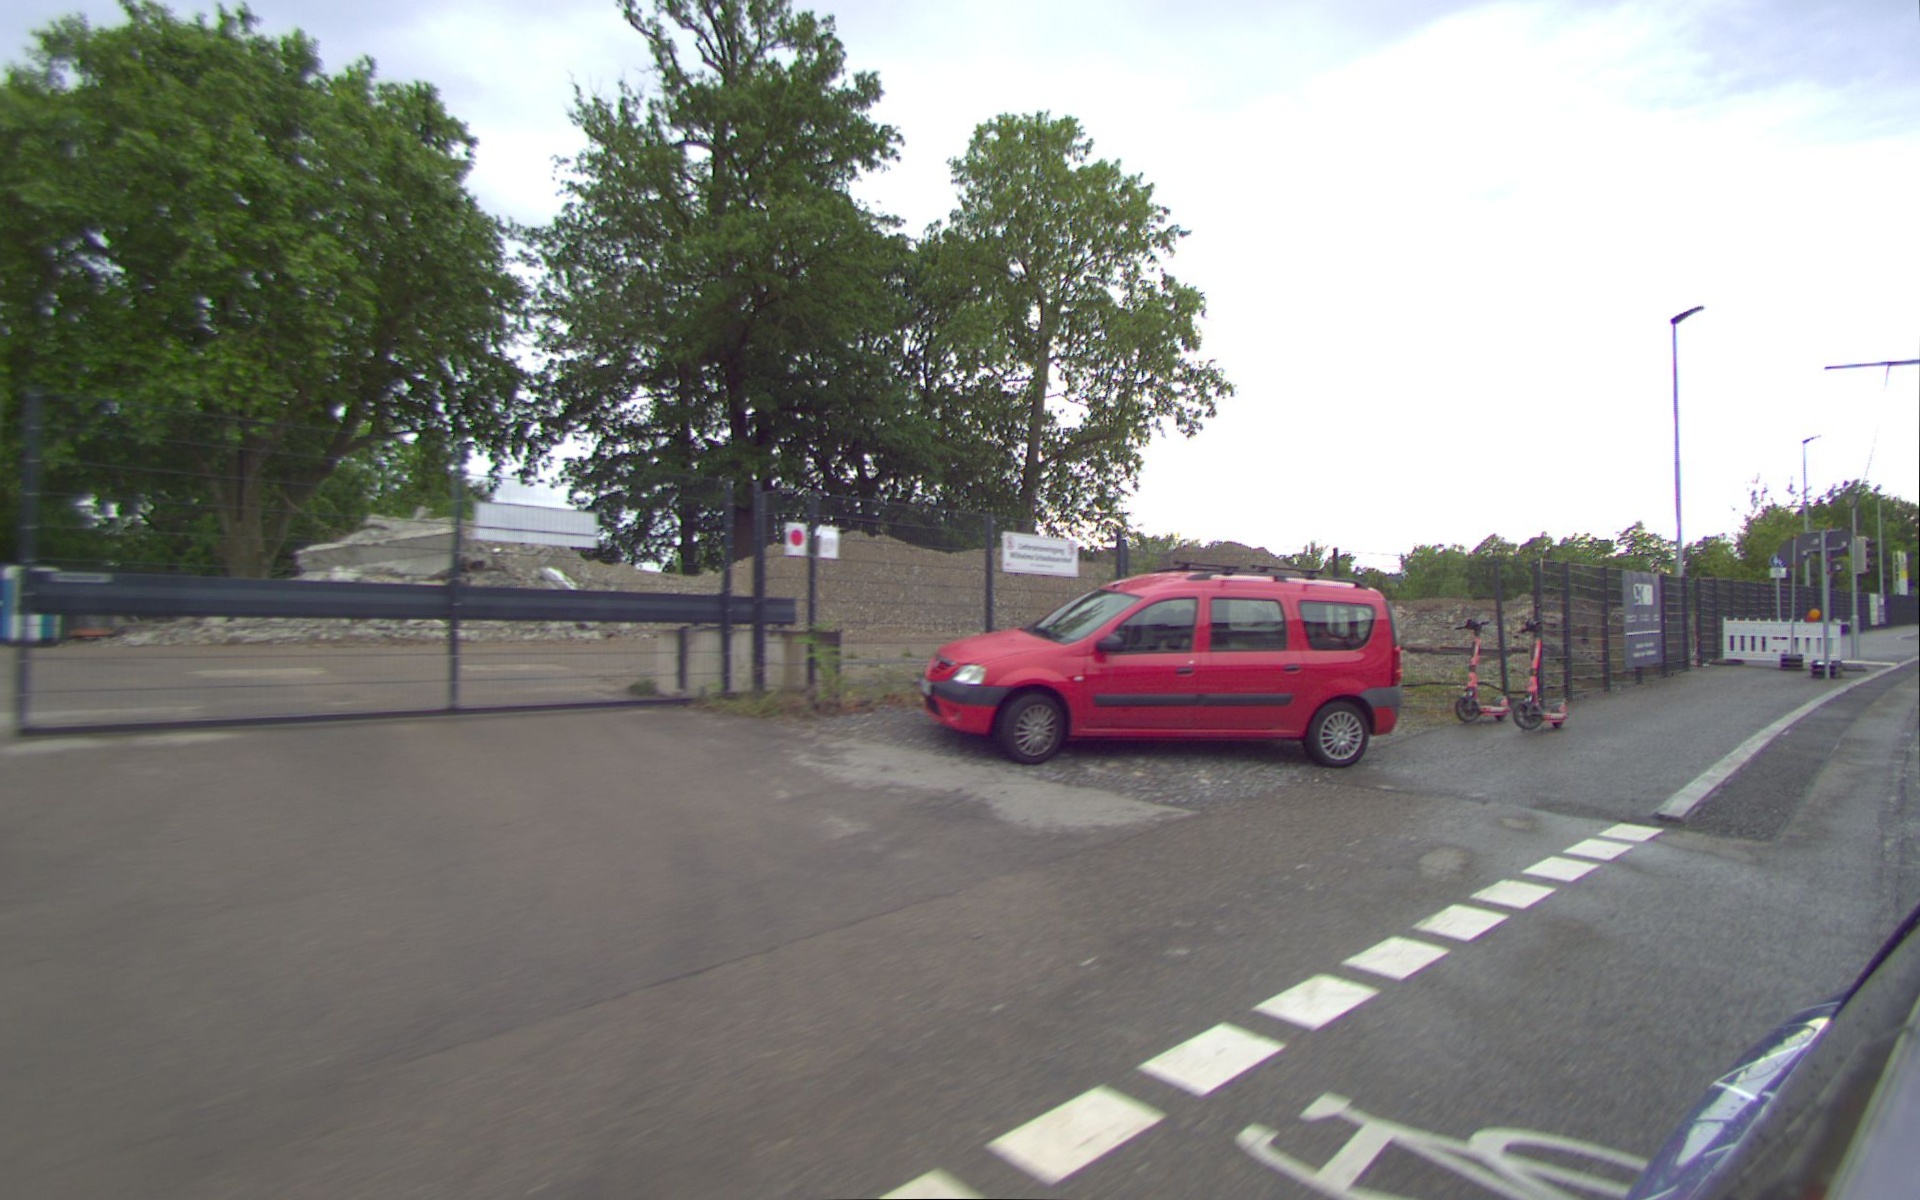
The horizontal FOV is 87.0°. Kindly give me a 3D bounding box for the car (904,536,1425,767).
[{"bbox_3d":[1.771,0.400,9.326,4.316,1.817,1.828,0,-1,-12],"label":"car"}]

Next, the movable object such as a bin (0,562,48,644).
[{"bbox_3d":[-26.760,0.078,28.673,1.087,2.280,1.384,0,0,-31],"label":"movable object such as a bin"}]

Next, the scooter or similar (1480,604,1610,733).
[{"bbox_3d":[6.743,0.732,11.627,1.877,1.368,0.616,0,-1,-38],"label":"scooter or similar"}]

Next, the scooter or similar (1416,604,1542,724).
[{"bbox_3d":[6.388,0.738,12.419,1.877,1.368,0.616,0,-1,-38],"label":"scooter or similar"}]
